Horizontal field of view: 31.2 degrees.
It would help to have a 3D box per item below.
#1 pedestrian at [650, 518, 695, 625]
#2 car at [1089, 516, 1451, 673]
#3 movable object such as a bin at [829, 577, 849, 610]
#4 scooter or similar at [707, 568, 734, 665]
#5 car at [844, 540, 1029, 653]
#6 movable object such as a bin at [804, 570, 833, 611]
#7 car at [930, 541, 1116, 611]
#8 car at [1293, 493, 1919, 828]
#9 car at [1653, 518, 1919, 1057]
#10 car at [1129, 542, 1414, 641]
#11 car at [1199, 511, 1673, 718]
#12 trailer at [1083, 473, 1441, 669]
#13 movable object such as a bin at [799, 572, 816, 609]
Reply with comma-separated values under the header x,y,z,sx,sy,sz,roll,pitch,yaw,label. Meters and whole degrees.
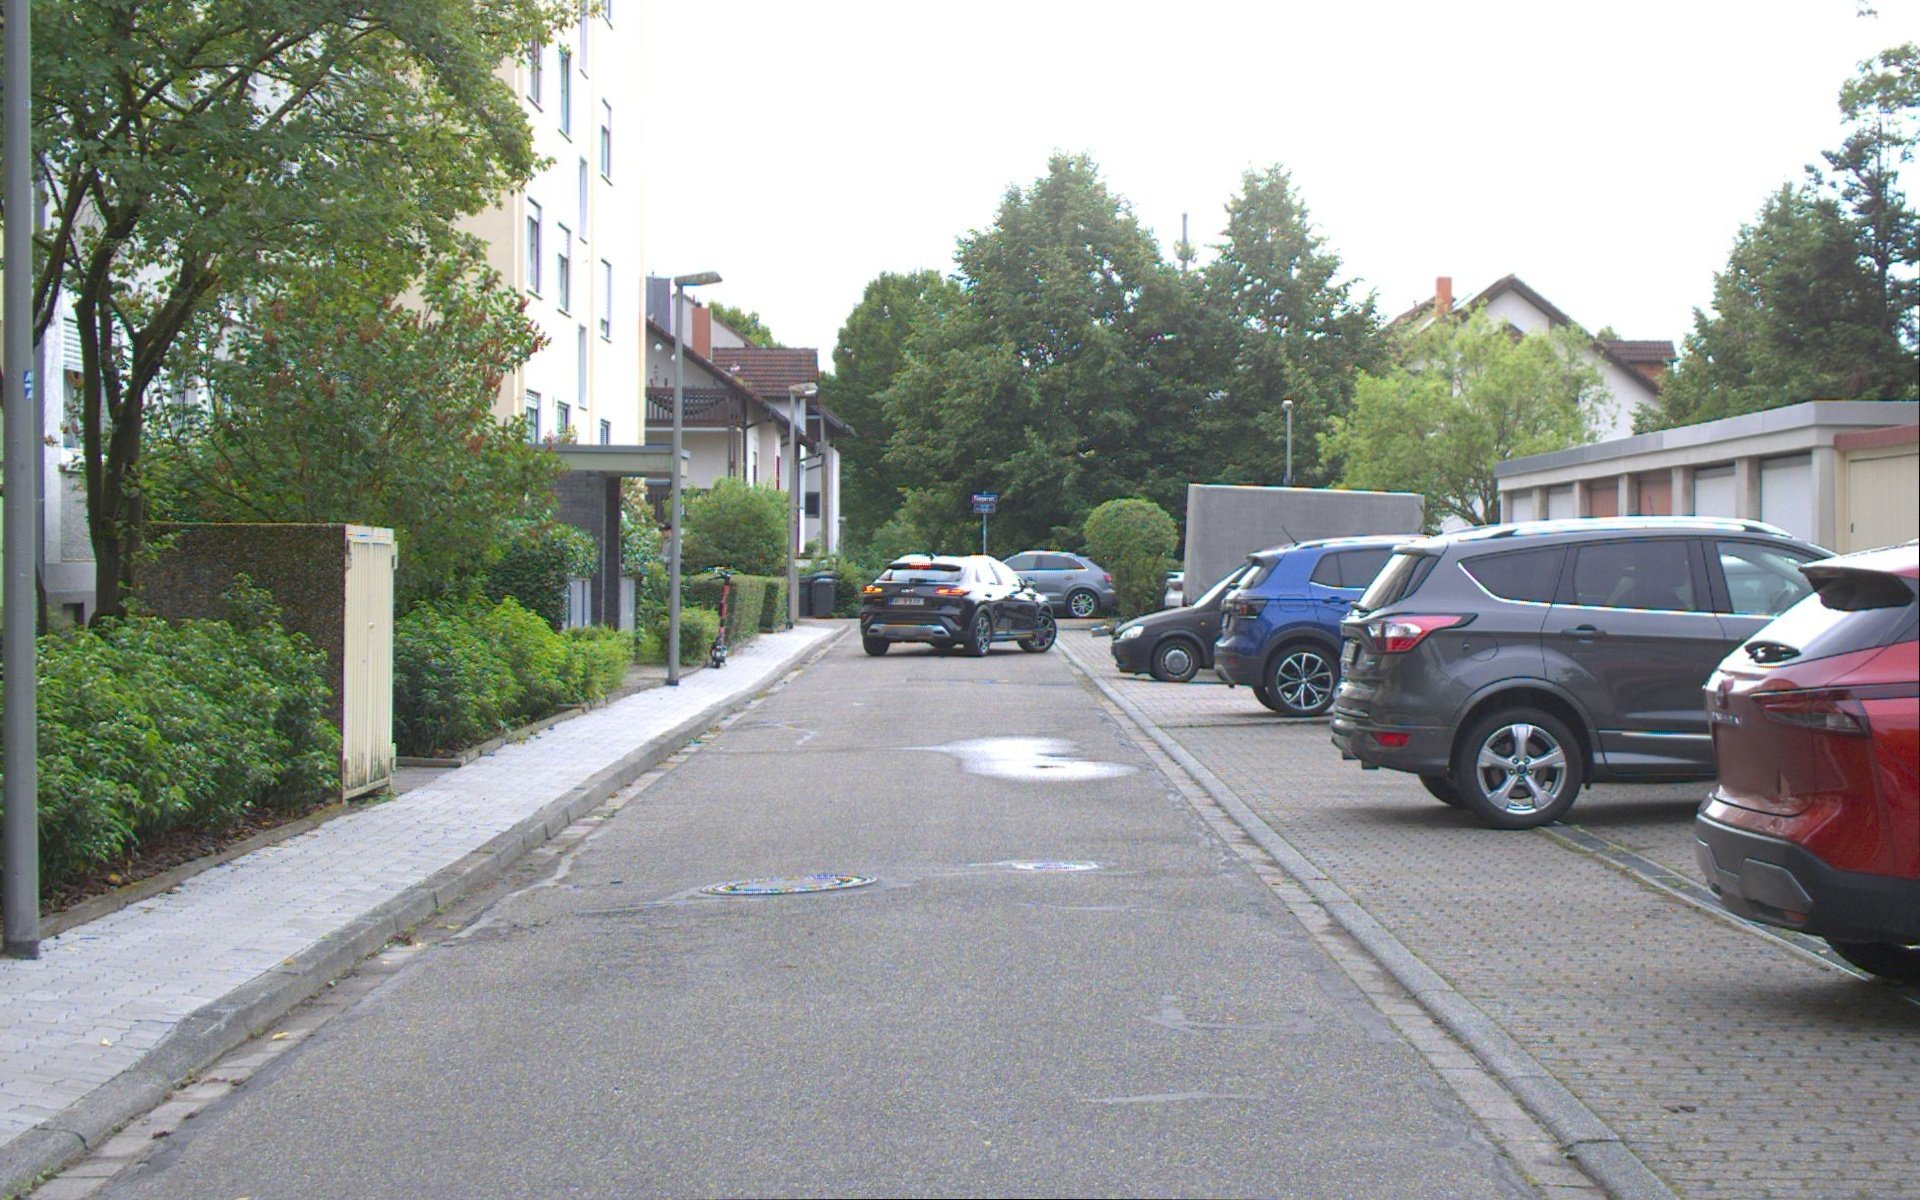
x,y,z,sx,sy,sz,roll,pitch,yaw,label
-4.766,-0.473,57.060,0.679,1.743,0.756,1,1,-2,pedestrian
3.860,-0.085,43.360,4.310,1.795,2.000,-2,1,0,car
-2.941,-0.151,83.525,0.459,0.795,0.379,1,1,-2,movable object such as a bin
-3.035,0.202,43.552,0.272,1.206,1.164,0,1,-1,scooter or similar
-0.300,-0.079,51.324,1.994,1.546,3.998,-2,1,11,car
-3.354,-0.234,81.618,0.638,0.950,0.723,1,1,-1,movable object such as a bin
1.444,-0.546,79.460,4.237,1.526,1.747,0,-1,0,car
4.149,0.297,19.821,4.195,1.721,2.000,-2,1,0,car
4.631,0.477,11.215,4.288,1.580,1.935,-2,1,-1,car
5.054,-0.153,56.338,4.537,1.583,1.988,0,1,2,car
4.285,0.110,31.427,3.987,1.697,2.000,-2,1,0,car
3.994,-0.394,46.042,4.609,2.516,1.943,1,1,1,trailer
-3.698,-0.237,83.279,0.386,0.886,0.379,1,1,-2,movable object such as a bin
